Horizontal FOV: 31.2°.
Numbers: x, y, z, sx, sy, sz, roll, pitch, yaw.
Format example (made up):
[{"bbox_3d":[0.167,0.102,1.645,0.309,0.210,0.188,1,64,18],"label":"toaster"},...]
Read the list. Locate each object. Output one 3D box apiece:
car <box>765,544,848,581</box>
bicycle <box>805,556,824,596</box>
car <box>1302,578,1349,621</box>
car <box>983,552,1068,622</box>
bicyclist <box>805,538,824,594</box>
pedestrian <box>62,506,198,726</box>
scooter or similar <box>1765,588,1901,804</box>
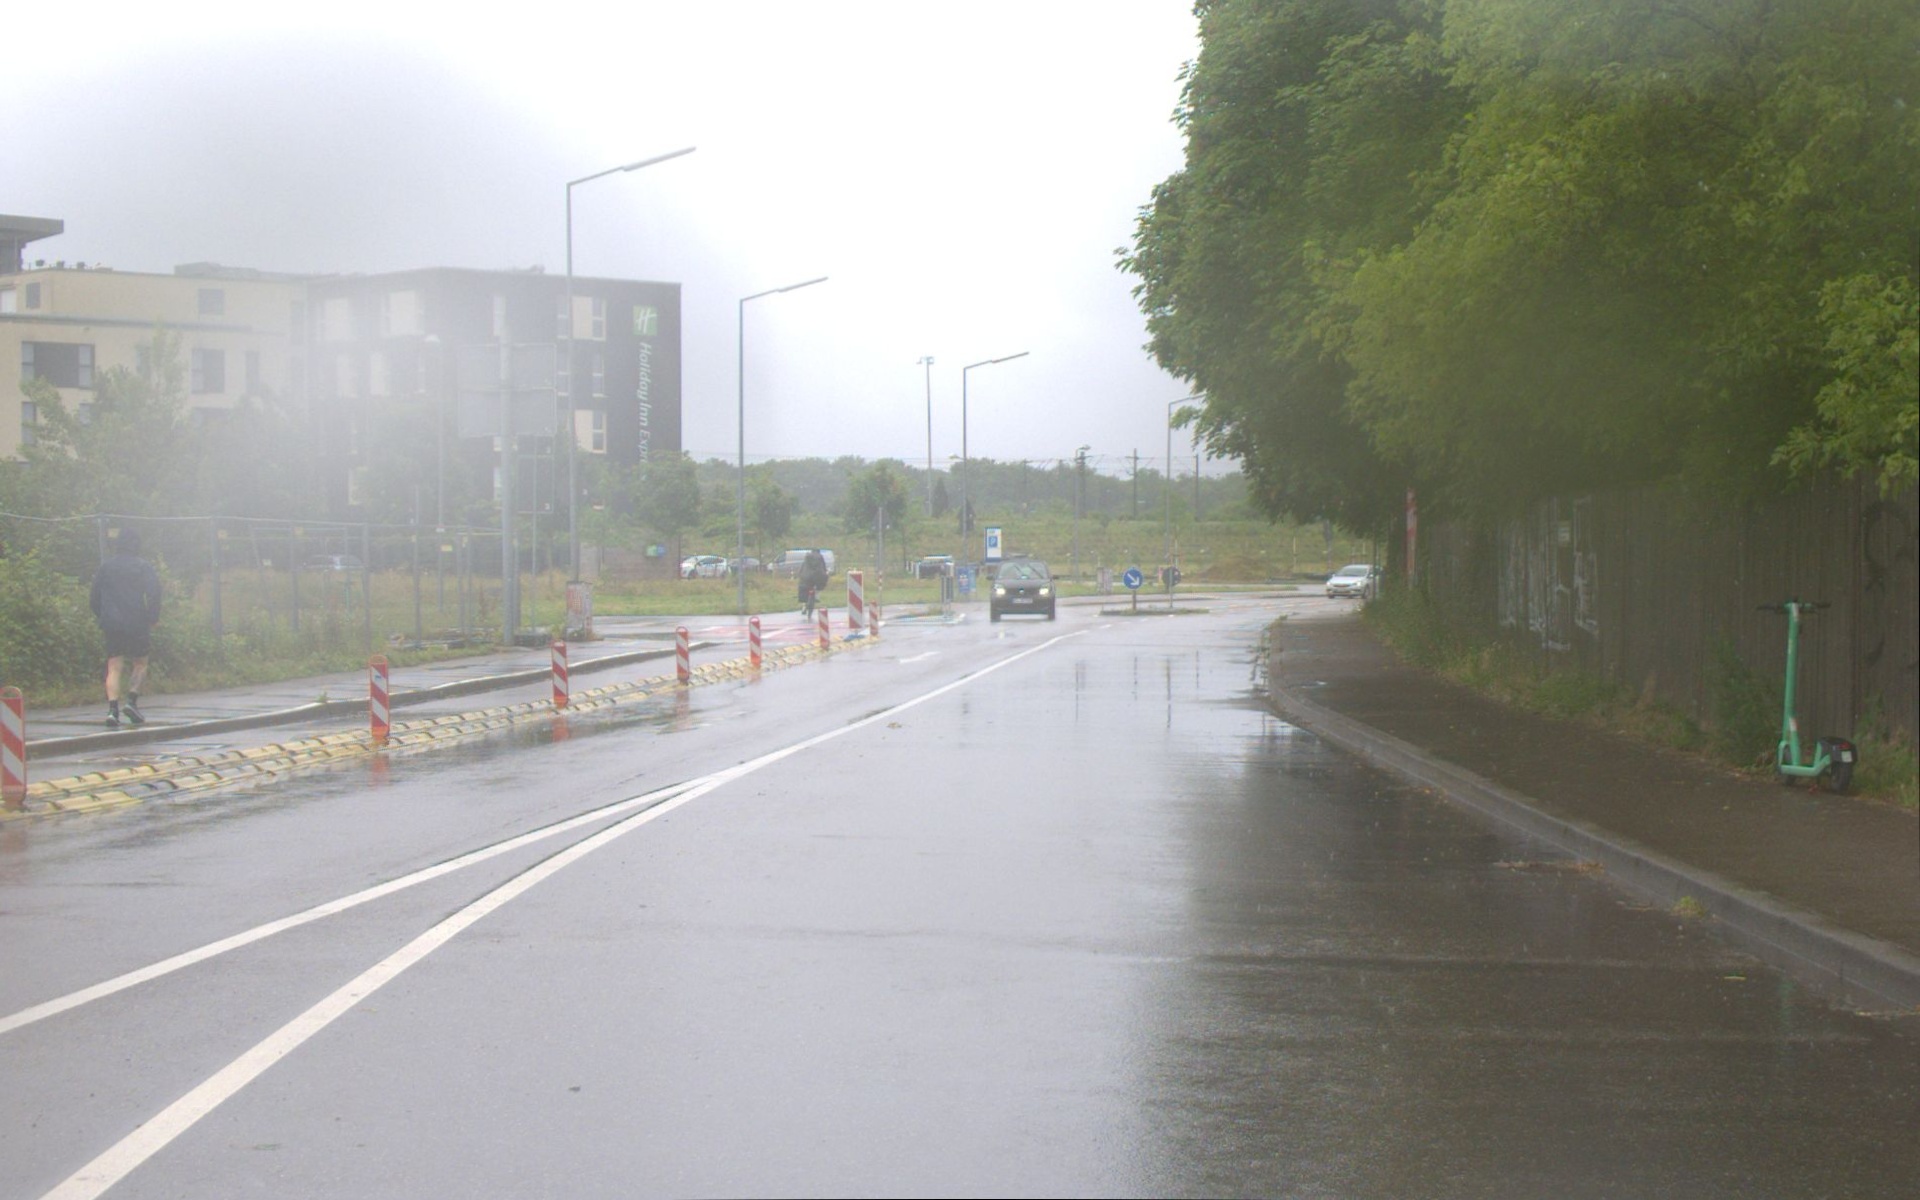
[{"bbox_3d":[-8.055,-1.970,180.562,3.988,1.766,1.999,2,-2,-39],"label":"car"},{"bbox_3d":[-3.726,-0.617,88.292,0.427,1.016,1.612,1,1,-1],"label":"bicycle"},{"bbox_3d":[16.134,0.001,151.649,1.994,1.766,3.998,0,-2,7],"label":"car"},{"bbox_3d":[1.717,-0.359,88.765,1.994,1.766,3.999,0,1,4],"label":"car"},{"bbox_3d":[-3.744,-0.871,88.367,0.444,1.399,0.550,0,-2,1],"label":"bicyclist"},{"bbox_3d":[-7.713,0.163,32.004,0.846,2.007,1.131,0,-2,8],"label":"pedestrian"},{"bbox_3d":[5.160,0.548,20.376,0.491,1.230,1.370,0,0,2],"label":"scooter or similar"}]
